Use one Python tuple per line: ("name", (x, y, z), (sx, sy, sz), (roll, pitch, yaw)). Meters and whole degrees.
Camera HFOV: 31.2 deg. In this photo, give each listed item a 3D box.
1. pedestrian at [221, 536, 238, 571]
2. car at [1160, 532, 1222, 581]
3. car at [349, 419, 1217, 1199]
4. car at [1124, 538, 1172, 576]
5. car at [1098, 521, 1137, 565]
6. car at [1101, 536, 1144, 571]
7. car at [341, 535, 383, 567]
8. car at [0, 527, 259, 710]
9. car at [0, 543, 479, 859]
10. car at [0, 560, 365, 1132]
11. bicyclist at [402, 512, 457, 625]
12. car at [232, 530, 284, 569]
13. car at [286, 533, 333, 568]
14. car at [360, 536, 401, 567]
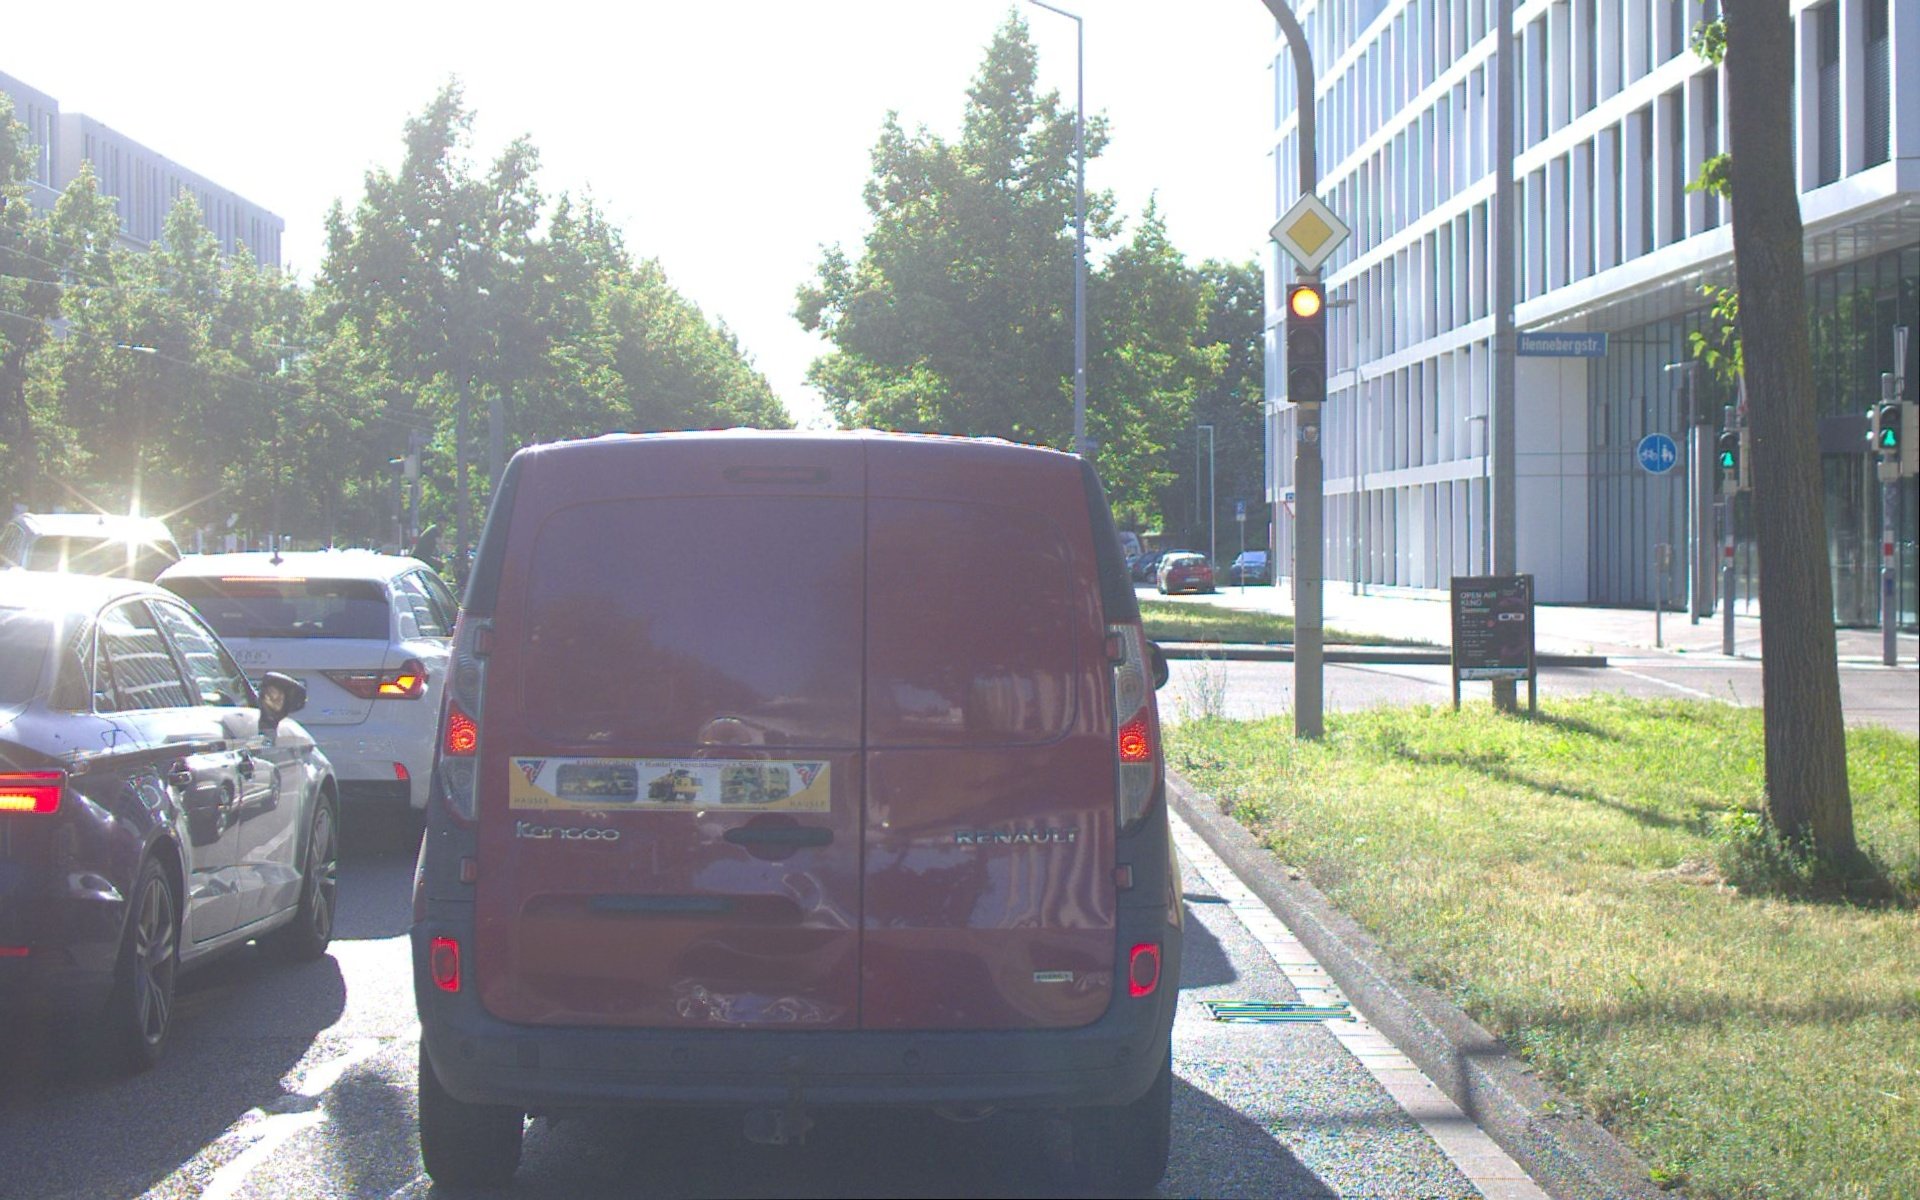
("pedestrian", (-43.169, -2.749, 203.147), (0.806, 2.007, 0.871), (0, 1, -1))
("car", (8.578, -1.636, 127.939), (1.993, 1.776, 4.000), (0, 1, -1))
("car", (-0.403, 0.468, 9.316), (1.842, 1.774, 4.000), (0, 1, -1))
("car", (8.782, -2.013, 160.622), (1.993, 1.776, 4.000), (0, 1, -1))
("car", (9.068, -3.283, 198.329), (1.993, 2.488, 4.987), (0, 1, -1))
("car", (8.483, -2.449, 179.820), (1.993, 1.776, 4.000), (0, 1, -1))
("car", (-37.763, -3.116, 217.244), (1.993, 2.007, 4.000), (0, 1, -1))
("car", (-7.284, 0.107, 30.484), (1.798, 1.442, 4.570), (1, 1, -8))
("car", (-3.608, 0.427, 17.571), (1.803, 1.421, 3.901), (0, 1, -1))
("car", (-3.159, 0.600, 10.910), (1.842, 1.421, 4.339), (0, 1, -1))
("bicyclist", (-9.851, -0.583, 63.859), (0.939, 2.085, 0.818), (0, 1, -5))
("car", (-37.230, -2.685, 182.412), (1.993, 2.007, 4.000), (0, 1, -1))
("car", (-37.681, -2.900, 199.226), (1.993, 2.007, 4.000), (0, 1, -1))
("car", (-37.553, -3.174, 222.868), (1.993, 2.007, 4.000), (0, 1, -1))
